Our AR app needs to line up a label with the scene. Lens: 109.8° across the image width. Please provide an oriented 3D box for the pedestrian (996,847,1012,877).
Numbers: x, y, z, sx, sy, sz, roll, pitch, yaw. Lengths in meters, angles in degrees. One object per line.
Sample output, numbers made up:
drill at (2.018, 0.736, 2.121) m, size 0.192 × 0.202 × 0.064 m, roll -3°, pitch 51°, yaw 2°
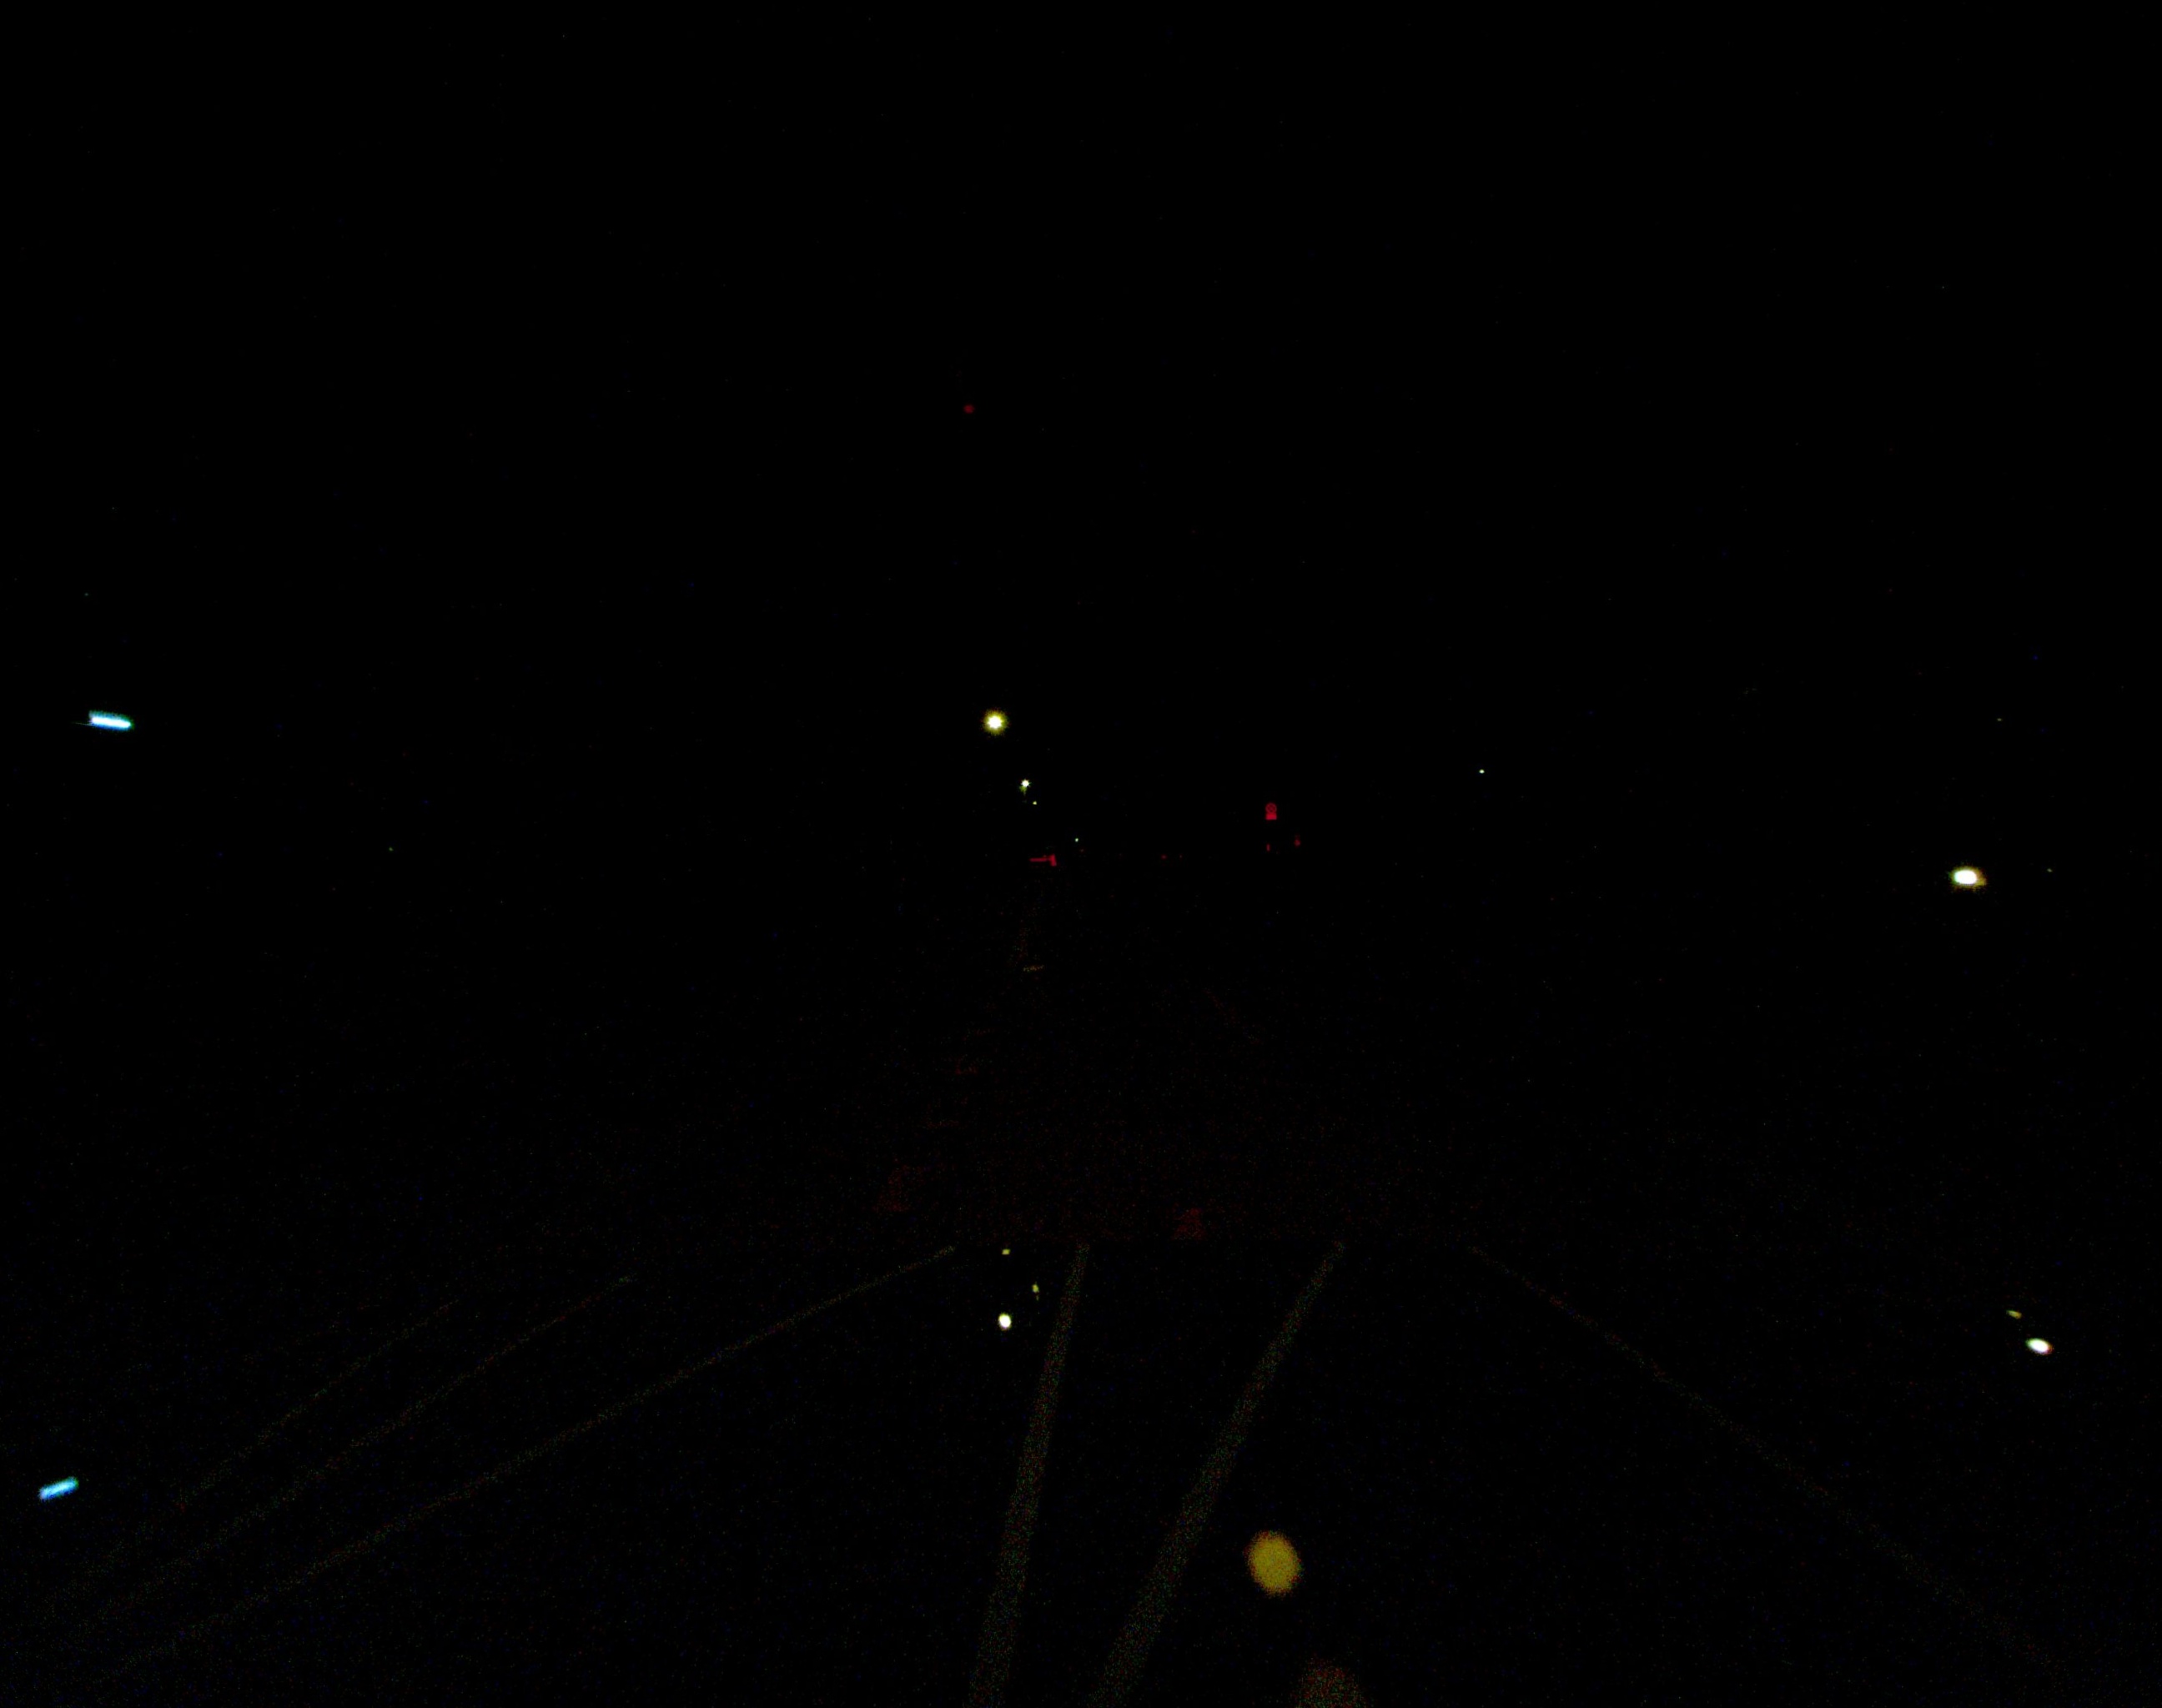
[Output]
pedestrian at (-4.748, 0.474, 46.623) m, size 0.824 × 1.809 × 0.608 m, roll -3°, pitch 2°, yaw 1°

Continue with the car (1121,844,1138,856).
car at (6.379, -0.525, 100.451) m, size 1.911 × 1.445 × 3.999 m, roll -3°, pitch 2°, yaw 1°

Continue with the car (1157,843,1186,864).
car at (7.231, -0.051, 61.003) m, size 1.911 × 1.445 × 3.999 m, roll -3°, pitch 2°, yaw 1°

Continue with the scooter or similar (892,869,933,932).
scooter or similar at (-3.602, 0.976, 16.327) m, size 0.570 × 1.271 × 1.391 m, roll 0°, pitch 0°, yaw 0°

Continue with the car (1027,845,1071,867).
car at (-2.958, 0.161, 70.824) m, size 3.997 × 1.821 × 1.912 m, roll -3°, pitch 2°, yaw 0°

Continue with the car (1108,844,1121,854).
car at (5.171, -0.773, 117.966) m, size 1.911 × 1.445 × 3.999 m, roll -3°, pitch 2°, yaw 1°
